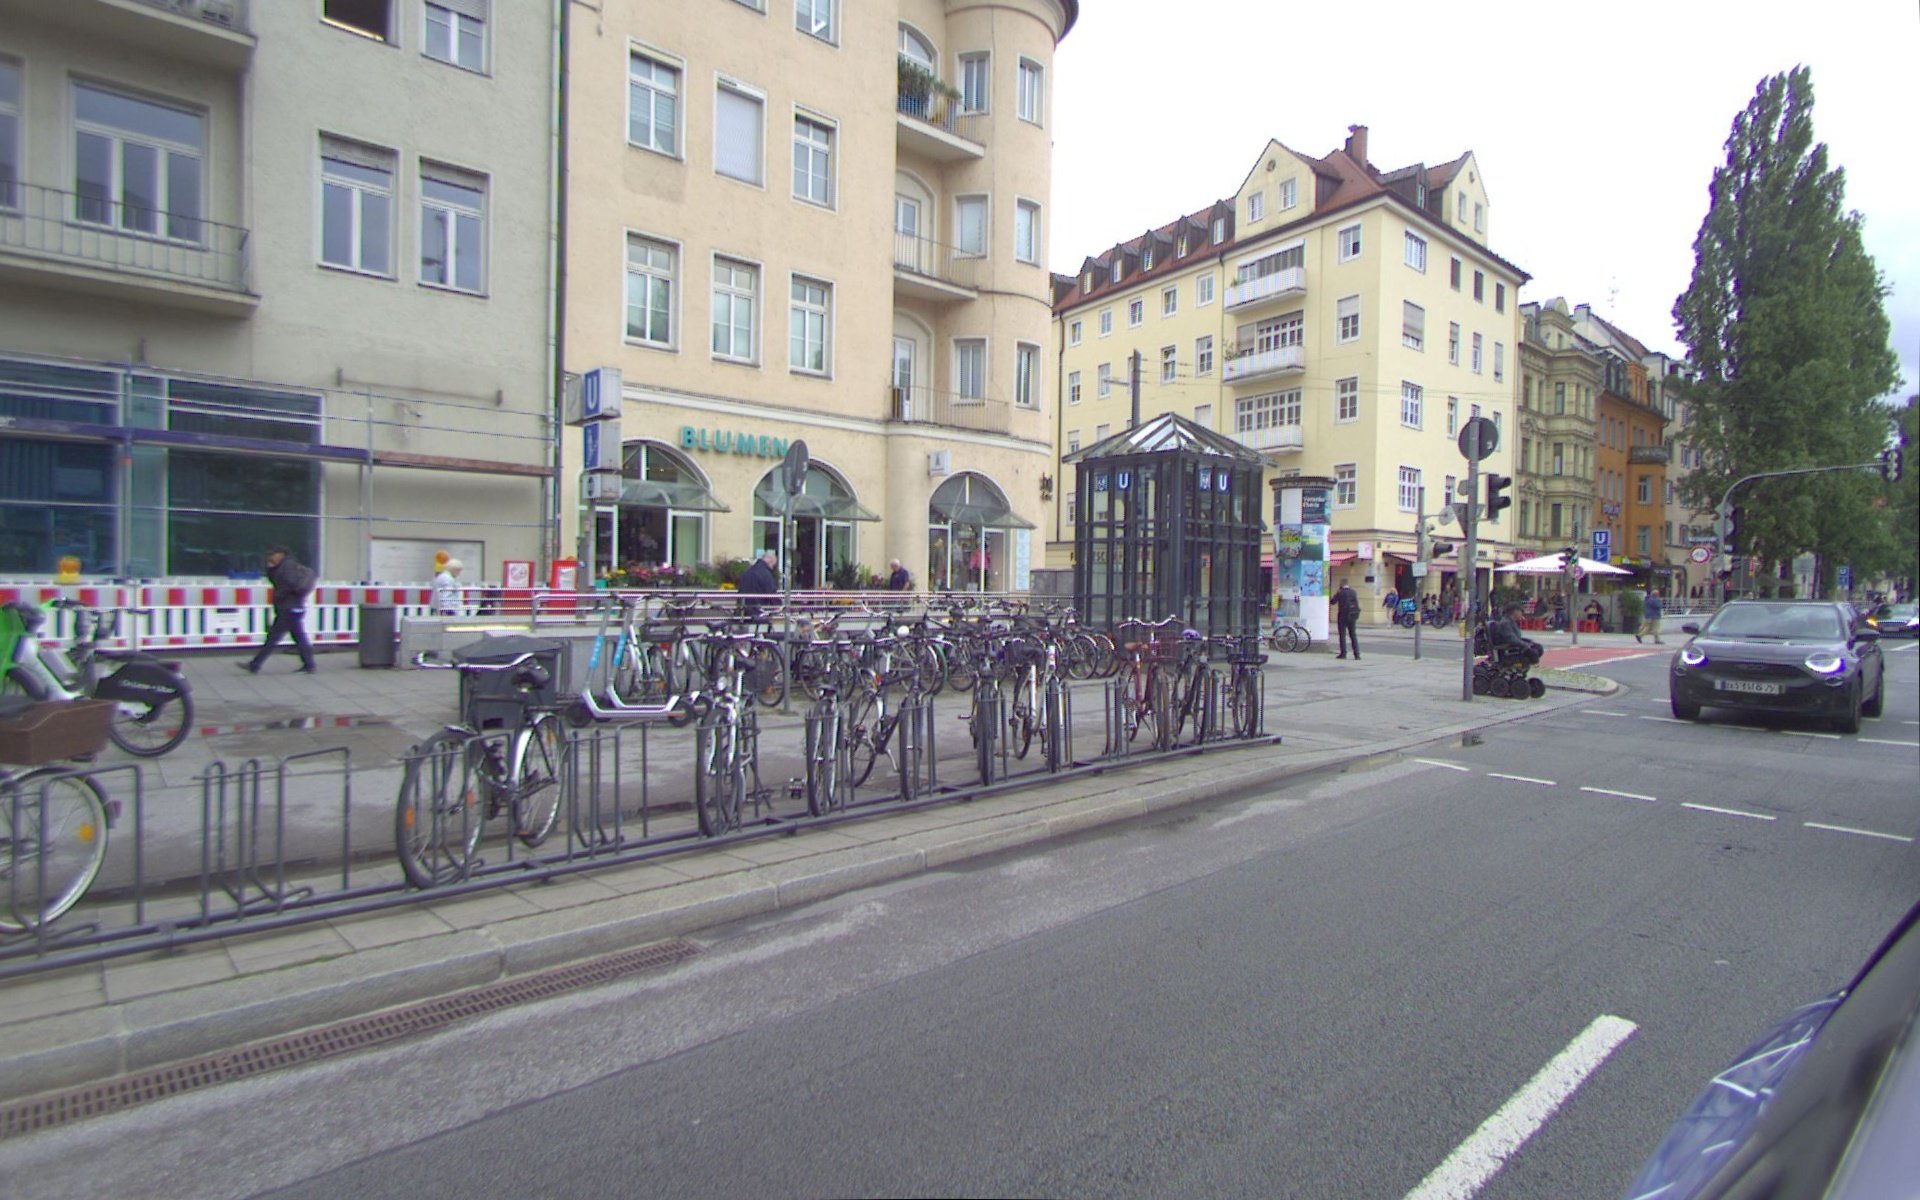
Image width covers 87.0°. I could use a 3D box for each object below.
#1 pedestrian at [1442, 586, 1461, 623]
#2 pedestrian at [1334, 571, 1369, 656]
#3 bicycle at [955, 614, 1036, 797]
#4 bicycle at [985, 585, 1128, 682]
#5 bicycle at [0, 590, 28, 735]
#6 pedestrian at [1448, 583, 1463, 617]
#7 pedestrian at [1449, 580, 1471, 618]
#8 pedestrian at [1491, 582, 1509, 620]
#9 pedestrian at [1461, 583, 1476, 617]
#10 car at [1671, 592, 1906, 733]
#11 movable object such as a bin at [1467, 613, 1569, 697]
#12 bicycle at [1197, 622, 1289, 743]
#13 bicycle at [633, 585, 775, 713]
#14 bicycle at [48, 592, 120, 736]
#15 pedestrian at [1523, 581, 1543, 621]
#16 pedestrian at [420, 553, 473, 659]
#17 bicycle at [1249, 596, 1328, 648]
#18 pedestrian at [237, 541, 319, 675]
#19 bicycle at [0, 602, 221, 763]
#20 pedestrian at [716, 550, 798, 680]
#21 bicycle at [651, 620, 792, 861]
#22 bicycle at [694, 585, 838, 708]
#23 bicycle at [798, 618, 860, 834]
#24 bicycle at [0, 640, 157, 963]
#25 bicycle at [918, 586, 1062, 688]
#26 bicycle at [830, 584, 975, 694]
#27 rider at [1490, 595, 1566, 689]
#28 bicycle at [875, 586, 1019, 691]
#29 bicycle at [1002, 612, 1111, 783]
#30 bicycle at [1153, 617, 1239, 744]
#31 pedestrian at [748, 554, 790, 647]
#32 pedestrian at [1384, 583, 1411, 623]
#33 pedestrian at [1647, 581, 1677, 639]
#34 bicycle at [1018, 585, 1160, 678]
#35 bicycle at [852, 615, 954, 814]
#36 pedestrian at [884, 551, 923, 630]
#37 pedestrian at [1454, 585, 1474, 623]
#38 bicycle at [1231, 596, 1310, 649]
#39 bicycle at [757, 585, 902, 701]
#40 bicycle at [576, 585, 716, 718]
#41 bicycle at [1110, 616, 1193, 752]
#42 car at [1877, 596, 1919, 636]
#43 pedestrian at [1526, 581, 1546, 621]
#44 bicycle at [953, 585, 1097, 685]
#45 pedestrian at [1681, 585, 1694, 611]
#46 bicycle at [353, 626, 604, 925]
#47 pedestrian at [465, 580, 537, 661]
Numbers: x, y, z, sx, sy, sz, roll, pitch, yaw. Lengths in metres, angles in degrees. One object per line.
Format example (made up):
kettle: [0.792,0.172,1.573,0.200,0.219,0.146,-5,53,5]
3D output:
pedestrian: [20.773,0.171,42.771,0.575,1.545,0.528,0,1,-41]
pedestrian: [8.396,0.278,21.714,0.634,1.799,0.605,1,1,25]
bicycle: [0.226,0.694,7.416,0.469,1.151,1.679,0,0,-2]
bicycle: [1.347,0.436,14.682,0.617,1.242,2.318,1,1,-38]
bicycle: [-8.144,0.489,8.494,1.449,1.091,0.404,3,3,44]
pedestrian: [22.860,-0.015,46.651,0.525,1.545,0.579,2,1,33]
pedestrian: [22.314,-0.049,45.149,0.672,1.688,0.622,1,1,5]
pedestrian: [24.880,0.034,46.627,0.575,1.705,0.552,1,1,-41]
pedestrian: [23.259,-0.014,46.315,0.525,1.545,0.579,2,1,33]
car: [10.582,0.659,12.828,3.981,1.489,1.738,0,1,-42]
movable object such as a bin: [8.085,0.774,14.672,0.735,1.075,1.088,-1,4,-44]
bicycle: [2.727,0.768,9.894,0.390,1.073,1.851,0,-2,1]
bicycle: [-2.914,0.481,11.329,0.617,1.242,2.343,1,1,-38]
bicycle: [-7.689,0.508,8.916,0.403,1.091,1.651,0,2,-38]
pedestrian: [25.145,0.047,44.430,0.575,1.705,0.552,1,1,-41]
pedestrian: [-7.716,0.072,15.207,0.580,1.560,0.565,-1,2,-43]
bicycle: [7.797,0.509,24.100,0.597,1.142,1.828,2,1,-29]
pedestrian: [-8.741,0.094,12.981,0.819,1.652,0.564,1,1,-38]
bicycle: [-6.416,0.589,7.386,1.728,1.091,0.410,1,2,-1]
pedestrian: [-2.795,0.188,13.938,0.804,1.713,0.747,2,1,35]
bicycle: [-1.345,0.720,5.983,0.578,1.151,1.798,0,0,-6]
bicycle: [-2.297,0.473,11.689,0.617,1.242,2.318,1,1,-38]
bicycle: [-0.801,0.713,6.369,0.341,1.151,1.527,0,0,-6]
bicycle: [-3.780,0.762,3.530,0.480,1.151,1.794,0,0,2]
bicycle: [0.360,0.451,13.875,0.617,1.242,2.318,1,1,-38]
bicycle: [-0.793,0.449,13.053,0.617,1.242,2.330,1,1,-38]
rider: [8.186,0.584,14.594,0.721,1.256,0.731,-1,4,-44]
bicycle: [-0.225,0.458,13.531,0.617,1.242,2.318,1,1,-38]
bicycle: [0.714,0.685,7.942,0.468,1.151,1.788,0,0,-7]
bicycle: [2.171,0.720,9.491,0.390,1.073,1.851,0,-2,1]
pedestrian: [-3.612,-0.004,19.104,0.580,1.722,0.565,-1,2,-43]
pedestrian: [17.324,0.115,40.077,0.818,1.587,0.714,0,0,-41]
pedestrian: [22.771,0.310,32.832,0.729,1.823,0.701,2,3,40]
bicycle: [1.885,0.428,15.139,0.617,1.242,2.318,1,1,-38]
bicycle: [-0.433,0.703,6.961,0.468,1.151,1.681,0,0,-11]
pedestrian: [-1.272,-0.225,22.784,0.634,1.760,0.617,-1,2,-43]
pedestrian: [21.113,0.172,42.397,0.575,1.545,0.528,0,1,-41]
bicycle: [7.264,0.516,23.743,0.597,1.142,1.828,2,1,-29]
bicycle: [-1.641,0.462,12.337,0.617,1.242,2.343,1,1,-38]
bicycle: [-3.442,0.488,10.920,0.617,1.242,2.368,1,1,-38]
bicycle: [1.655,0.702,8.954,0.390,1.073,1.851,0,-2,1]
car: [40.763,0.655,43.315,3.931,1.645,1.852,-1,1,-41]
pedestrian: [24.817,0.057,43.631,0.575,1.705,0.552,1,1,-41]
bicycle: [0.860,0.444,14.248,0.617,1.242,2.318,1,1,-38]
pedestrian: [48.809,-0.148,67.859,0.575,1.705,0.552,0,1,-41]
bicycle: [-2.273,0.736,5.013,0.480,1.151,1.797,0,0,-3]
pedestrian: [-7.517,0.309,16.586,0.904,1.261,0.700,-1,3,-43]
